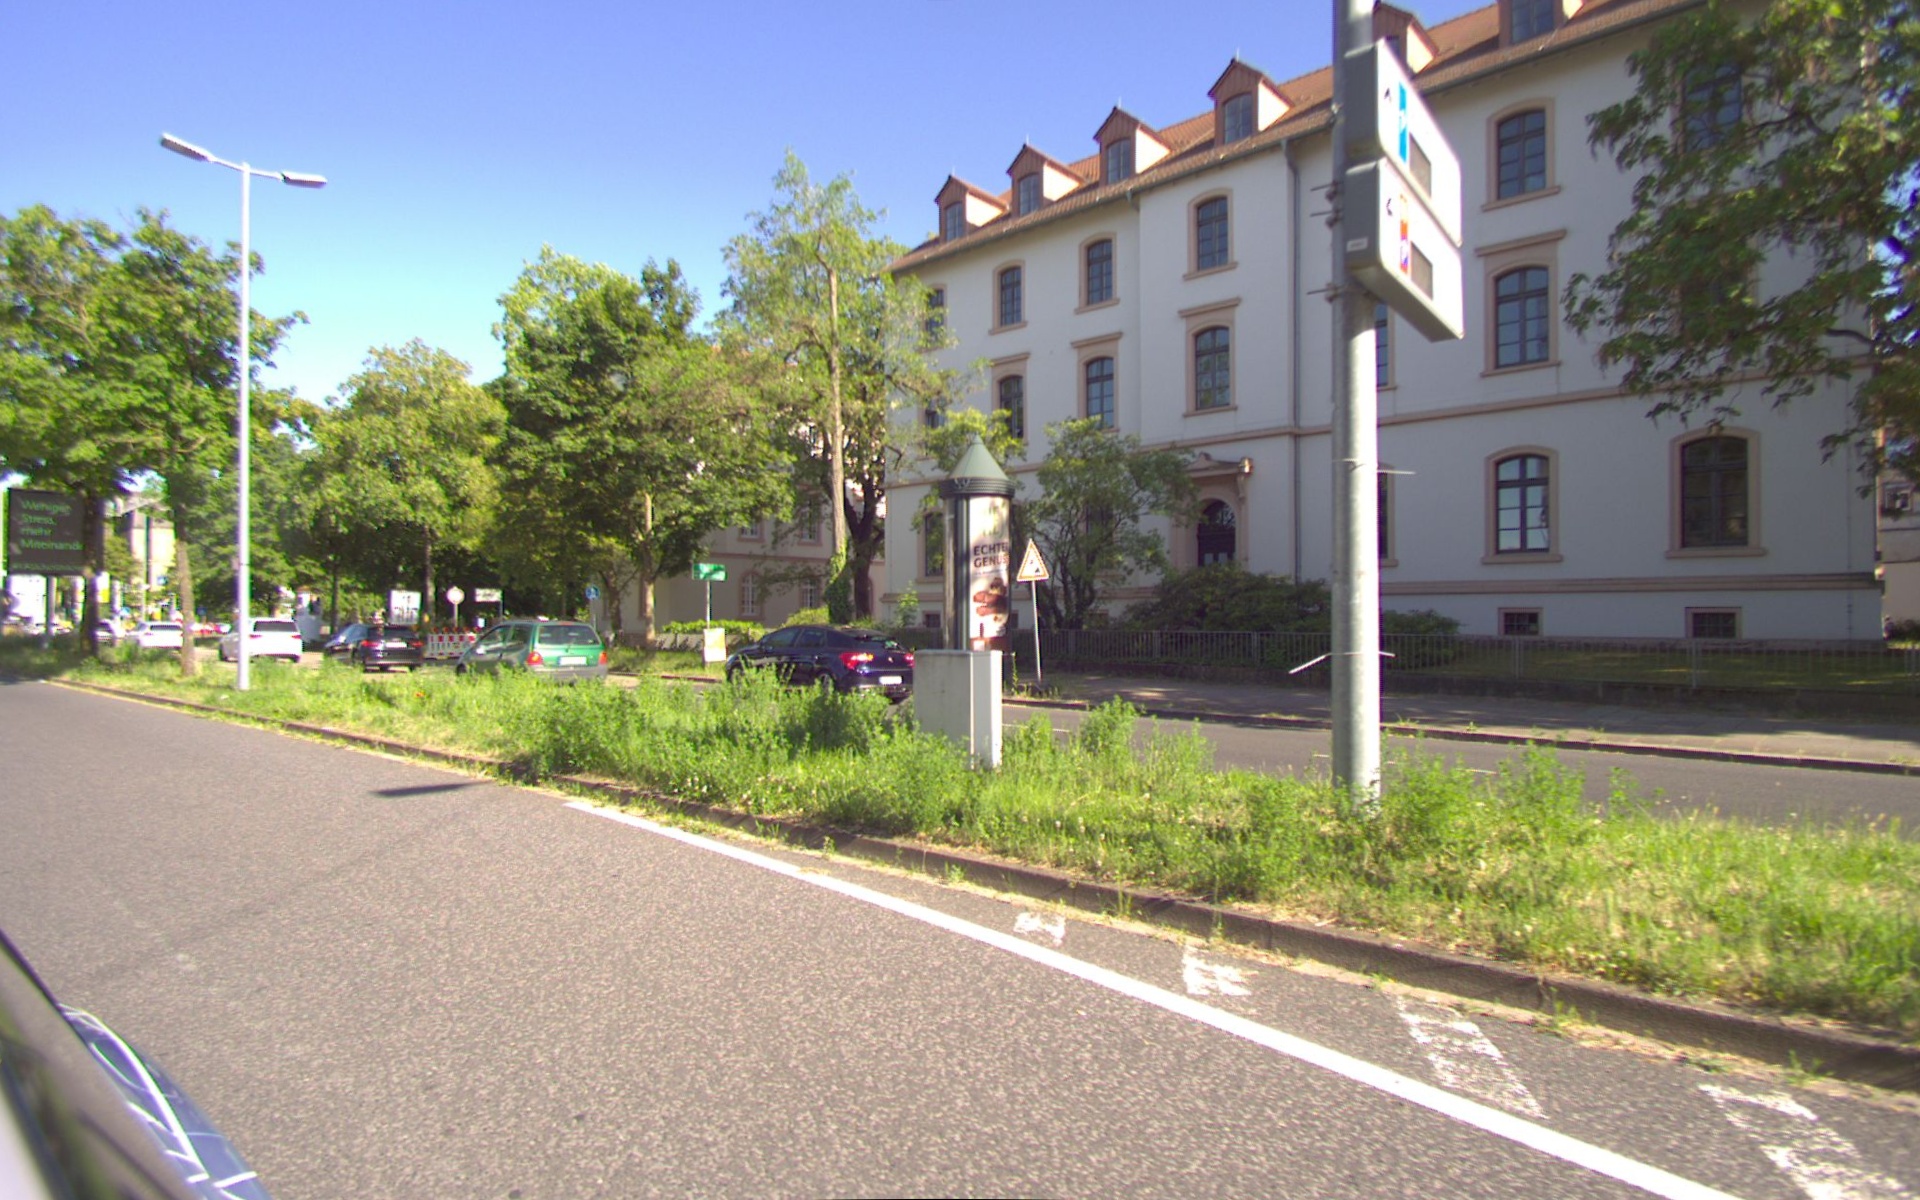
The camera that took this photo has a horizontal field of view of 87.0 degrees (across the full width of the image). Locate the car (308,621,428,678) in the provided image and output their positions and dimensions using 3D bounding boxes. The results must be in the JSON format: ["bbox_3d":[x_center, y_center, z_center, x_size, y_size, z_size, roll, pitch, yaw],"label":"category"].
[{"bbox_3d":[-17.464,1.424,29.782,4.084,1.530,1.777,0,-2,41],"label":"car"}]

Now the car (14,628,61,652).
[{"bbox_3d":[-61.848,2.641,67.828,4.254,1.530,1.778,-1,-1,40],"label":"car"}]

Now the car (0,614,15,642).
[{"bbox_3d":[-63.318,1.804,66.187,4.321,1.630,1.735,2,2,40],"label":"car"}]

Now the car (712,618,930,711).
[{"bbox_3d":[-2.736,1.128,19.225,4.425,1.530,1.775,-1,-1,45],"label":"car"}]

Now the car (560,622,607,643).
[{"bbox_3d":[-32.014,2.737,85.962,4.683,1.503,1.625,3,2,40],"label":"car"}]

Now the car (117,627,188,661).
[{"bbox_3d":[-37.850,2.020,47.392,4.664,1.530,1.819,-2,-2,42],"label":"car"}]

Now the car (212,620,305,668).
[{"bbox_3d":[-25.403,1.566,36.602,4.538,1.638,1.879,-2,-3,44],"label":"car"}]

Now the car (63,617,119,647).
[{"bbox_3d":[-49.197,1.768,57.286,4.256,1.530,1.777,1,1,41],"label":"car"}]

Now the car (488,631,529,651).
[{"bbox_3d":[-31.636,2.832,70.927,1.743,1.333,3.507,1,-2,-40],"label":"car"}]

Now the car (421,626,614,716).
[{"bbox_3d":[-8.457,1.259,19.192,4.254,1.530,1.622,-1,-2,40],"label":"car"}]
